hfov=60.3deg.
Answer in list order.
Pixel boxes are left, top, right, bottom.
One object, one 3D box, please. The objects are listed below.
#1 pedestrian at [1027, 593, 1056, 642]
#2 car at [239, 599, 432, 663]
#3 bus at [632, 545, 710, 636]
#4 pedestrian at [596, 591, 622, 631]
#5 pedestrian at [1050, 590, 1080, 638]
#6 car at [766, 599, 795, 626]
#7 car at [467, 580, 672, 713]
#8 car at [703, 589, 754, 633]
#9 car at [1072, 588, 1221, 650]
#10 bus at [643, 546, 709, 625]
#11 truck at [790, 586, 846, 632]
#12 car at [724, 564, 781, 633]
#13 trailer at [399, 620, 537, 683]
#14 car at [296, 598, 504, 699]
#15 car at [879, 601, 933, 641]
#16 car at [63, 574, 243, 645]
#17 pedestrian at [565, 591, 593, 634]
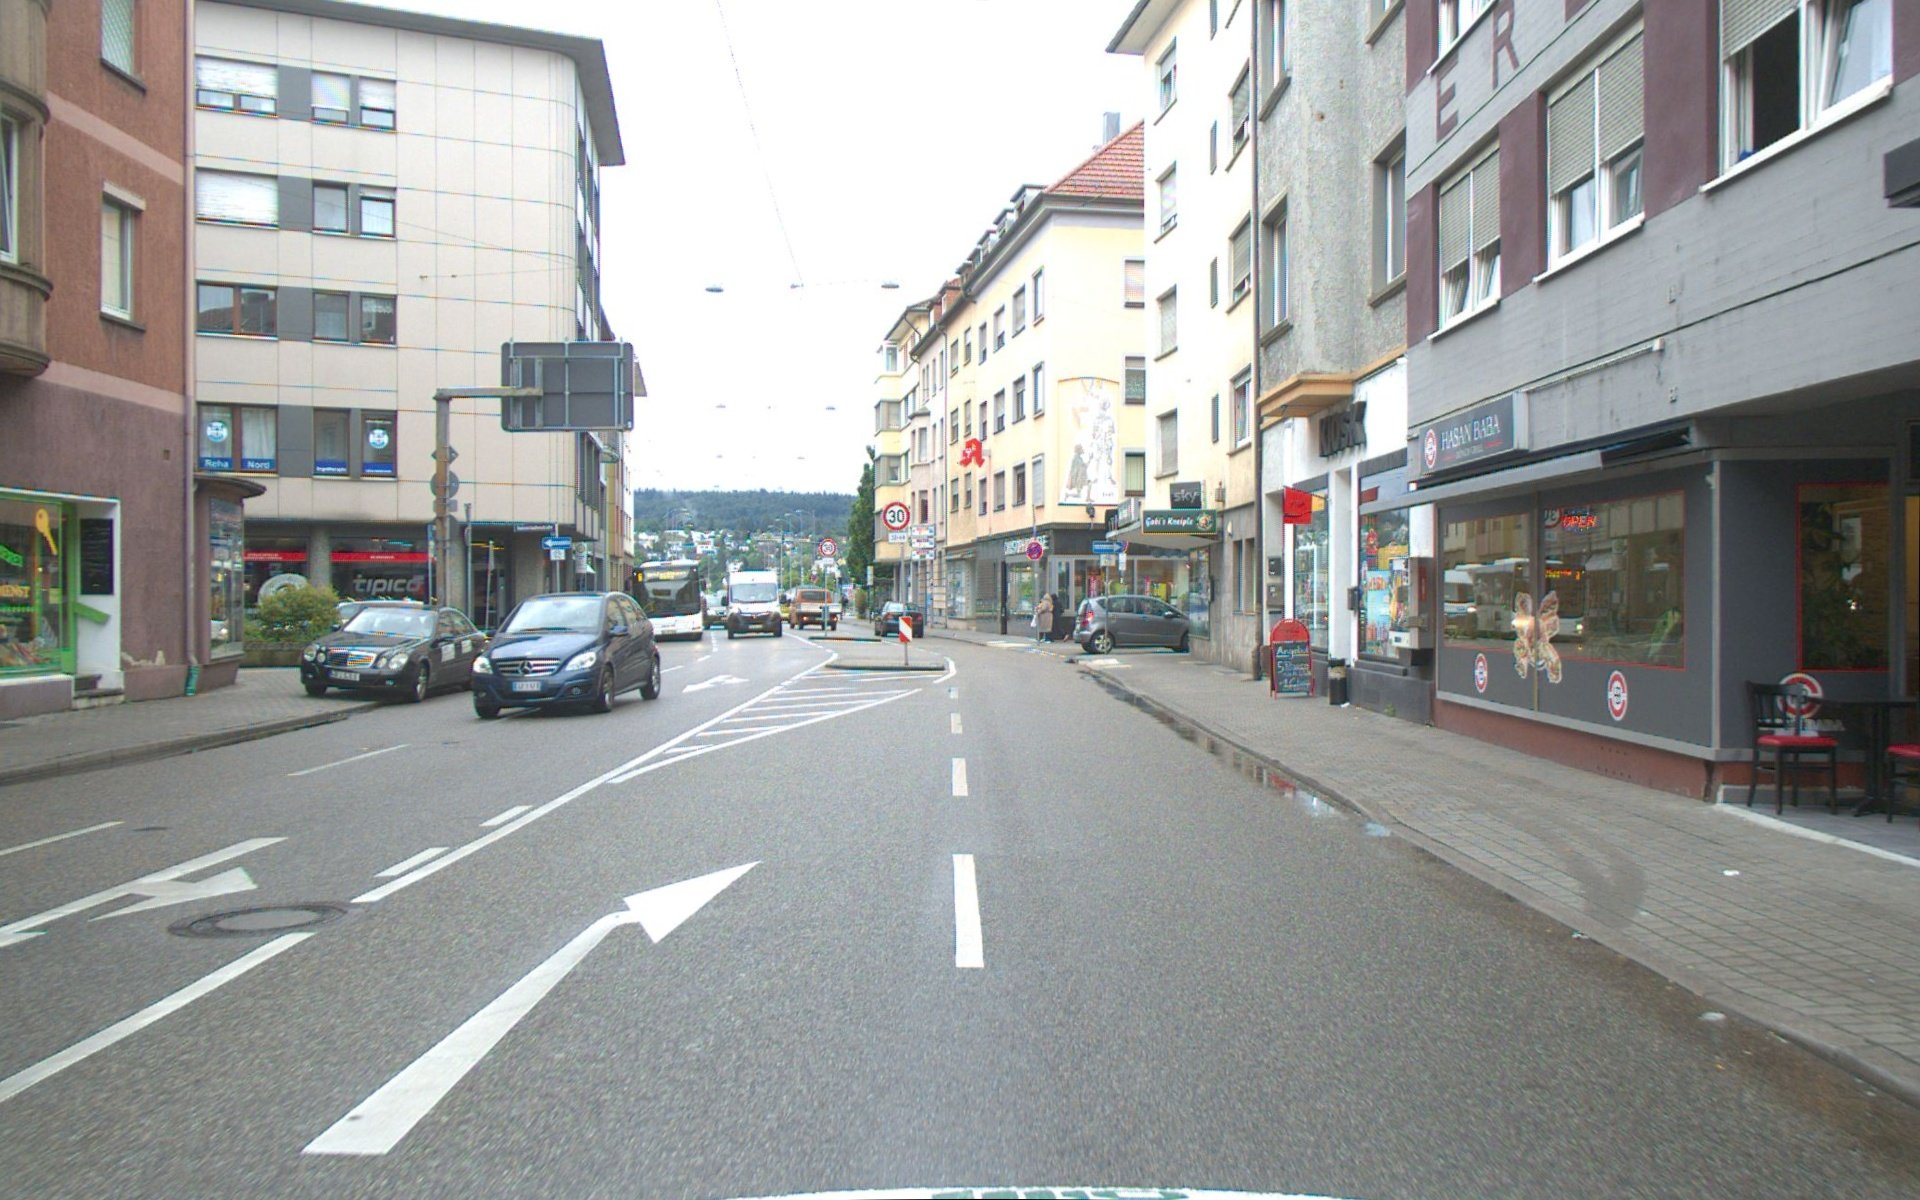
[{"bbox_3d":[2.677,0.569,54.149,0.764,1.587,0.781,-1,-1,-11],"label":"pedestrian"},{"bbox_3d":[-16.493,0.792,43.707,4.577,1.559,1.888,-1,-1,-29],"label":"car"},{"bbox_3d":[-11.086,-0.317,63.982,2.708,3.244,8.893,-1,0,-9],"label":"bus"},{"bbox_3d":[-15.044,0.477,70.943,0.980,1.713,1.263,-1,-1,-7],"label":"pedestrian"},{"bbox_3d":[3.458,0.463,54.536,0.754,1.587,0.874,-1,-1,-11],"label":"pedestrian"},{"bbox_3d":[-11.662,0.827,107.291,1.722,1.680,3.992,-1,0,-9],"label":"car"},{"bbox_3d":[-5.372,0.616,23.317,1.718,1.680,4.308,-1,0,2],"label":"car"},{"bbox_3d":[-11.956,0.550,85.277,2.357,2.167,5.300,-1,0,-11],"label":"car"},{"bbox_3d":[5.108,0.515,45.668,3.752,1.601,1.933,-1,-1,-7],"label":"car"},{"bbox_3d":[-12.462,-0.556,72.997,2.675,3.244,9.273,-1,0,-9],"label":"bus"},{"bbox_3d":[-7.027,0.449,81.286,2.355,2.167,5.303,-1,0,-9],"label":"truck"},{"bbox_3d":[-7.886,-0.022,63.307,2.046,2.478,6.343,-1,0,-6],"label":"car"},{"bbox_3d":[-9.209,0.944,31.197,1.555,0.965,3.057,4,0,1],"label":"trailer"},{"bbox_3d":[-9.062,0.727,27.214,1.812,1.422,4.792,3,0,-1],"label":"car"},{"bbox_3d":[-2.192,0.831,66.384,1.722,1.505,3.992,-1,0,-9],"label":"car"},{"bbox_3d":[-17.992,0.204,37.034,3.466,1.508,1.682,-1,-1,-22],"label":"car"},{"bbox_3d":[-14.623,0.467,63.505,0.927,1.617,0.833,-1,-1,-7],"label":"pedestrian"}]
